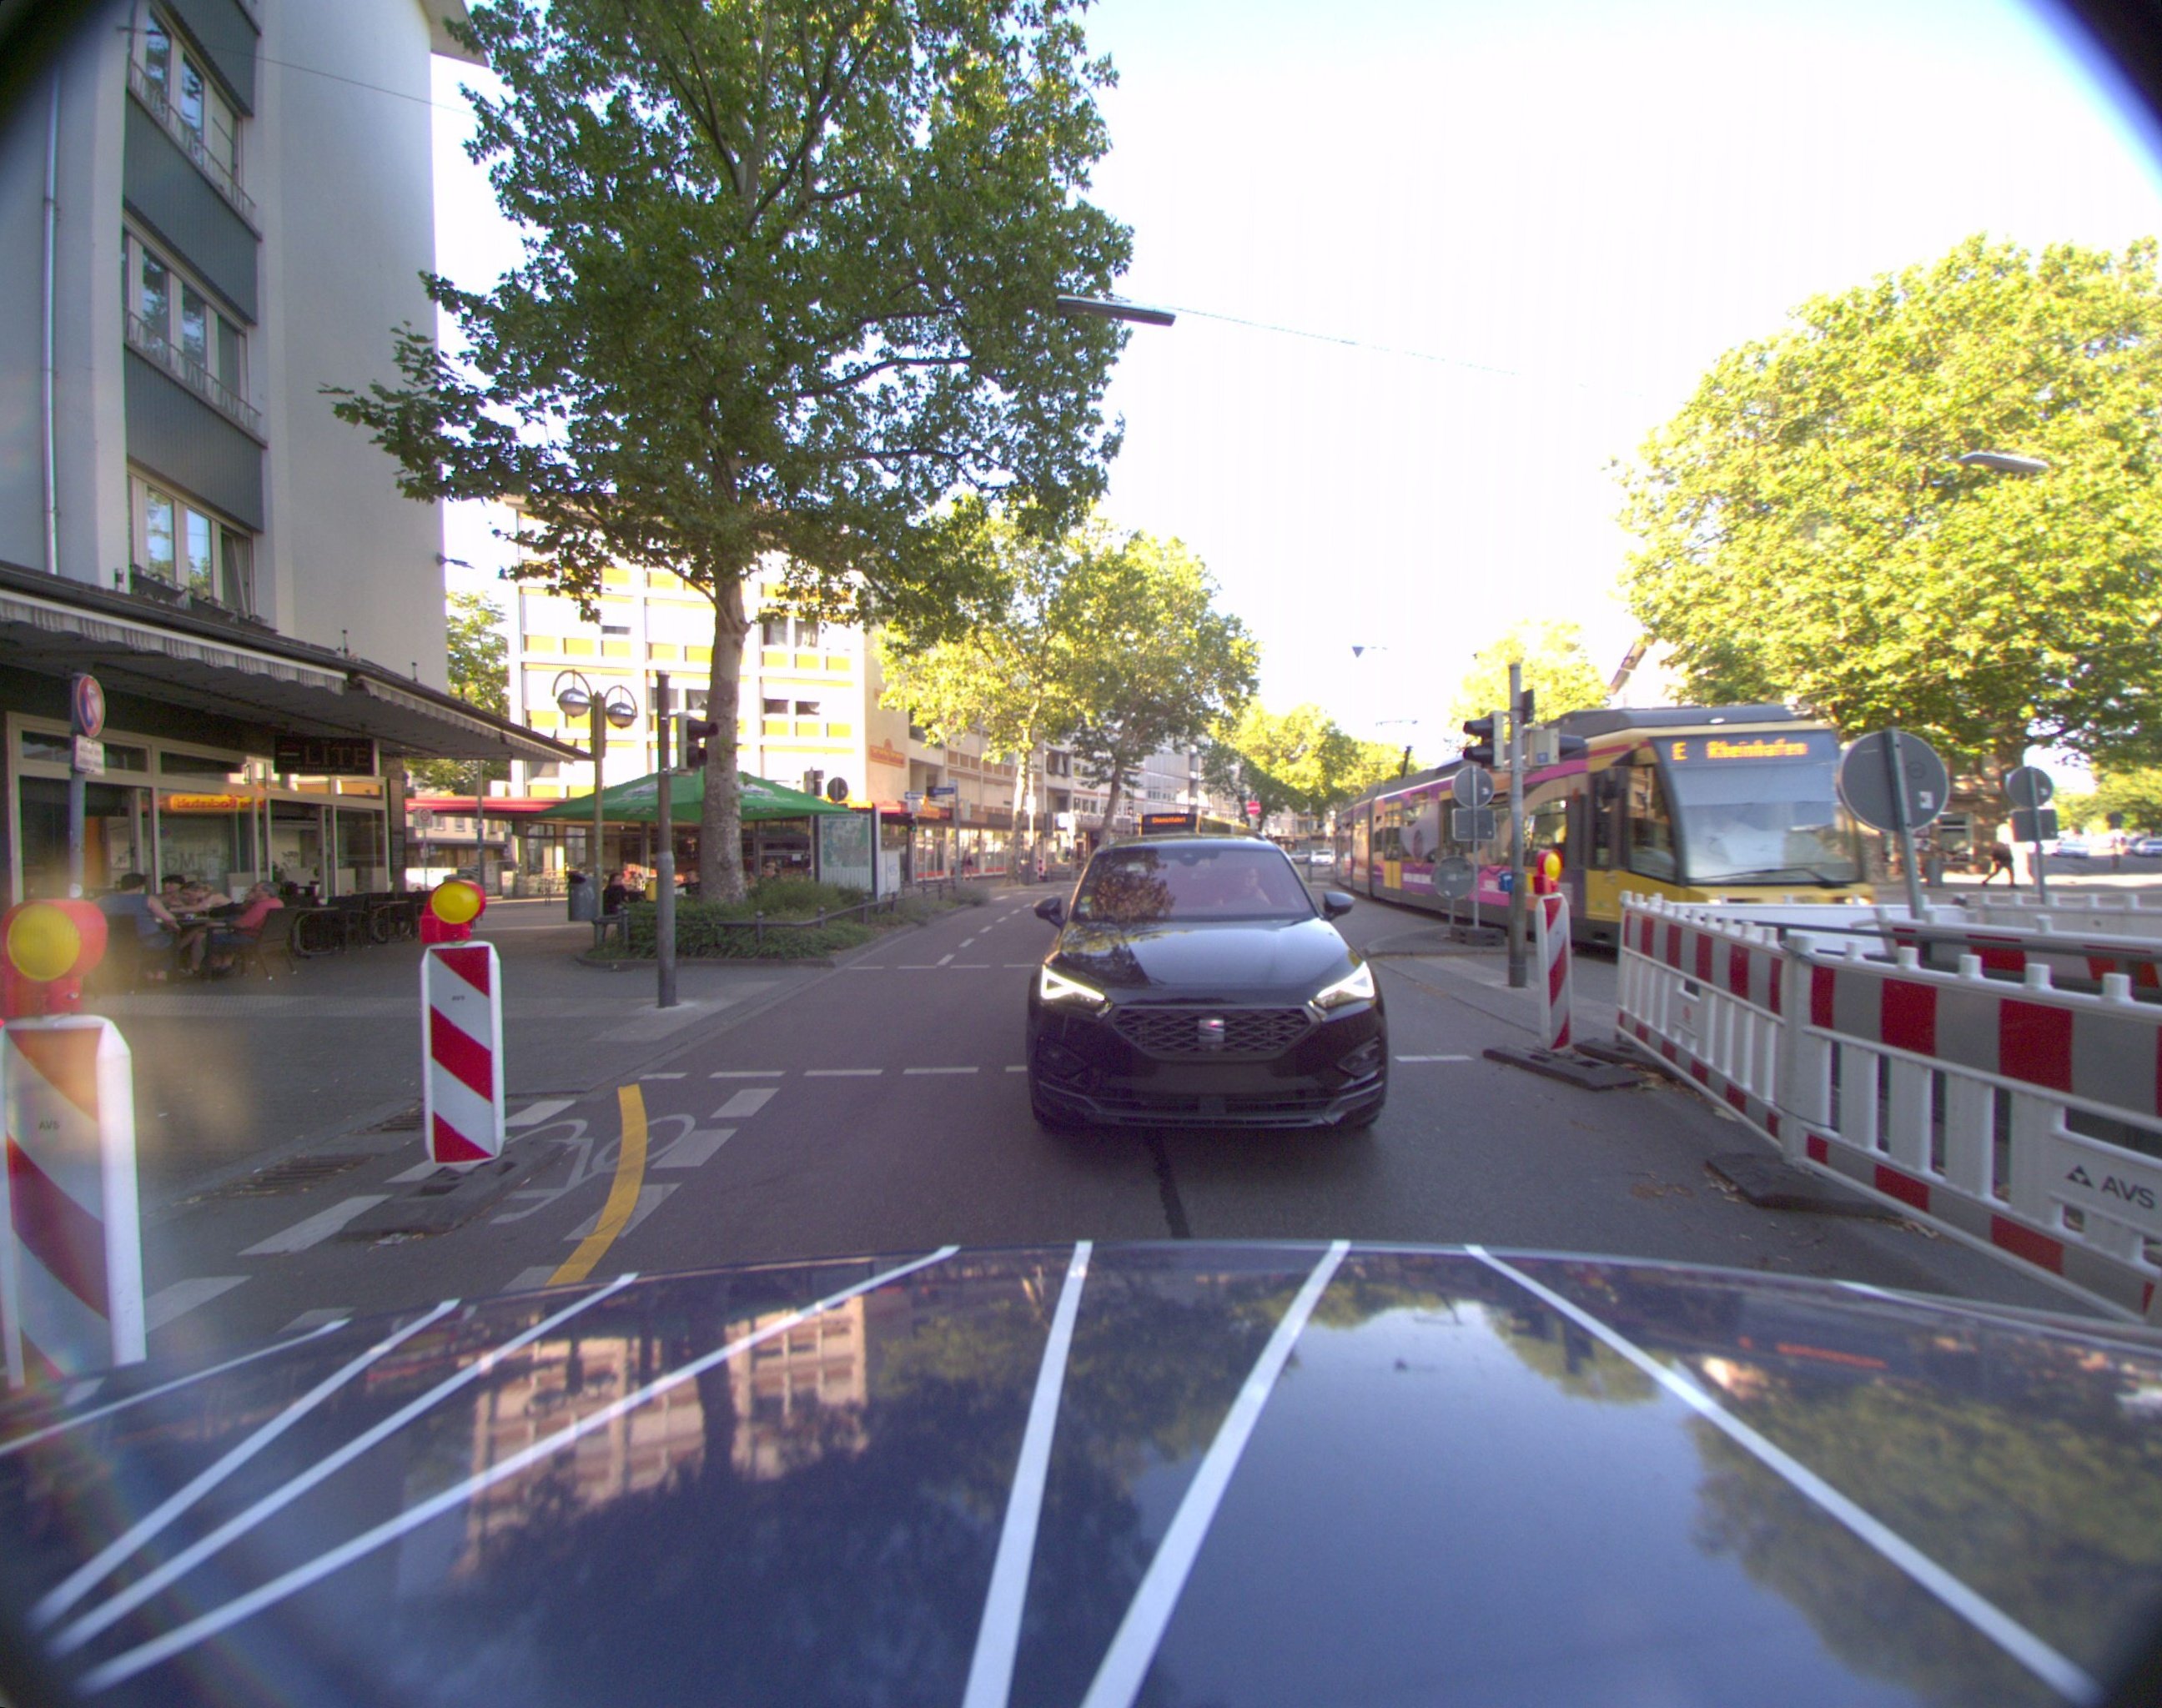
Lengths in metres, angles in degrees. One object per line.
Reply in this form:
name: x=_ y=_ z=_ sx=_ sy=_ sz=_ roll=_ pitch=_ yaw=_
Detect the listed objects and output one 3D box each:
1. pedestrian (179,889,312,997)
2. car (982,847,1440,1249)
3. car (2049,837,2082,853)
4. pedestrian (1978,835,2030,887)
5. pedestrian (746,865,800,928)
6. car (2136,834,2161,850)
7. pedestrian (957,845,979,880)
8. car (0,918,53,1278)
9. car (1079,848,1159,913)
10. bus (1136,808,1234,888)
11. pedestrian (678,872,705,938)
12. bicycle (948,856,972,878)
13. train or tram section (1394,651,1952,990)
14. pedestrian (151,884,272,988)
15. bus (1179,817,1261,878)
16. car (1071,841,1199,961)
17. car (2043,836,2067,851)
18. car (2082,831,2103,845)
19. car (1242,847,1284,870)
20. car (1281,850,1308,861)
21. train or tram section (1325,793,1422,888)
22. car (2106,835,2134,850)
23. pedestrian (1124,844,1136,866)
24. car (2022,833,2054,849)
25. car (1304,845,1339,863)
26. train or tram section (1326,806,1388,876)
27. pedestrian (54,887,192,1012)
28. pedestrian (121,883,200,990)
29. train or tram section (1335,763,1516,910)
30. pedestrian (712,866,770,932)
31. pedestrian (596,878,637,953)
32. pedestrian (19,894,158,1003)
pedestrian: x=-9.852 y=1.020 z=8.995 sx=0.847 sy=1.191 sz=0.649 roll=1 pitch=0 yaw=-22
car: x=0.680 y=0.806 z=5.308 sx=1.848 sy=1.648 sz=4.300 roll=-2 pitch=0 yaw=4
car: x=90.953 y=-0.825 z=70.170 sx=4.007 sy=1.485 sz=1.723 roll=-1 pitch=1 yaw=-36
pedestrian: x=31.650 y=0.247 z=26.056 sx=0.797 sy=1.746 sz=0.802 roll=-1 pitch=1 yaw=0
pedestrian: x=-6.547 y=0.888 z=16.181 sx=0.718 sy=1.278 sz=0.769 roll=-1 pitch=1 yaw=13
car: x=98.332 y=-1.122 z=69.761 sx=4.007 sy=1.485 sz=1.723 roll=-1 pitch=1 yaw=-36
pedestrian: x=-5.766 y=0.428 z=38.781 sx=0.748 sy=1.747 sz=0.903 roll=0 pitch=1 yaw=17
car: x=-5.153 y=0.994 z=1.422 sx=1.623 sy=1.457 sz=3.604 roll=2 pitch=0 yaw=-2
car: x=1.120 y=0.627 z=20.325 sx=1.743 sy=1.492 sz=4.301 roll=-2 pitch=0 yaw=7
bus: x=4.960 y=-0.287 z=34.444 sx=2.749 sy=3.085 sz=9.508 roll=0 pitch=1 yaw=18
pedestrian: x=-7.417 y=0.963 z=14.480 sx=0.433 sy=1.212 sz=0.467 roll=1 pitch=1 yaw=-29
bicycle: x=-6.677 y=0.702 z=42.029 sx=0.528 sy=1.136 sz=1.976 roll=0 pitch=1 yaw=15
train or tram section: x=8.254 y=-0.372 z=13.085 sx=2.821 sy=3.467 sz=10.344 roll=-1 pitch=1 yaw=8
pedestrian: x=-10.697 y=0.987 z=9.375 sx=0.666 sy=1.211 sz=0.717 roll=0 pitch=0 yaw=-5
bus: x=8.162 y=-0.400 z=43.449 sx=2.748 sy=3.085 sz=9.511 roll=0 pitch=1 yaw=22
car: x=0.965 y=0.647 z=12.783 sx=1.743 sy=1.630 sz=4.300 roll=-2 pitch=0 yaw=6
car: x=134.042 y=-1.434 z=104.600 sx=4.007 sy=2.004 sz=1.846 roll=-1 pitch=1 yaw=-36
car: x=155.880 y=-2.482 z=117.059 sx=4.007 sy=2.004 sz=1.846 roll=-1 pitch=1 yaw=-36
car: x=12.708 y=0.305 z=52.849 sx=1.908 sy=1.467 sz=4.425 roll=0 pitch=2 yaw=26
car: x=23.912 y=0.158 z=85.022 sx=2.629 sy=1.209 sz=1.200 roll=-1 pitch=2 yaw=-6
train or tram section: x=12.413 y=-0.560 z=33.104 sx=2.875 sy=3.467 sz=10.349 roll=-1 pitch=1 yaw=15
car: x=108.801 y=-1.156 z=79.545 sx=4.007 sy=1.485 sz=1.723 roll=0 pitch=0 yaw=-36
pedestrian: x=3.928 y=0.078 z=60.747 sx=0.748 sy=1.747 sz=0.903 roll=0 pitch=1 yaw=17
car: x=93.254 y=-1.252 z=74.043 sx=4.007 sy=1.485 sz=1.723 roll=-1 pitch=1 yaw=-36
car: x=21.578 y=-0.015 z=68.032 sx=1.952 sy=1.541 sz=4.765 roll=0 pitch=2 yaw=31
train or tram section: x=15.403 y=-0.700 z=43.010 sx=2.839 sy=3.467 sz=10.351 roll=-1 pitch=1 yaw=18
pedestrian: x=-10.224 y=0.985 z=8.145 sx=0.651 sy=1.244 sz=0.716 roll=1 pitch=0 yaw=-24
pedestrian: x=-11.248 y=0.987 z=9.288 sx=0.519 sy=1.236 sz=0.553 roll=0 pitch=0 yaw=34
train or tram section: x=9.921 y=-0.461 z=23.261 sx=2.840 sy=3.467 sz=10.347 roll=-1 pitch=1 yaw=12
pedestrian: x=-6.814 y=0.891 z=15.257 sx=0.718 sy=1.278 sz=0.769 roll=-1 pitch=1 yaw=14
pedestrian: x=-7.786 y=1.013 z=12.744 sx=0.469 sy=1.212 sz=0.431 roll=-2 pitch=1 yaw=-44
pedestrian: x=-11.091 y=1.027 z=8.519 sx=0.718 sy=1.123 sz=0.649 roll=1 pitch=0 yaw=-24
